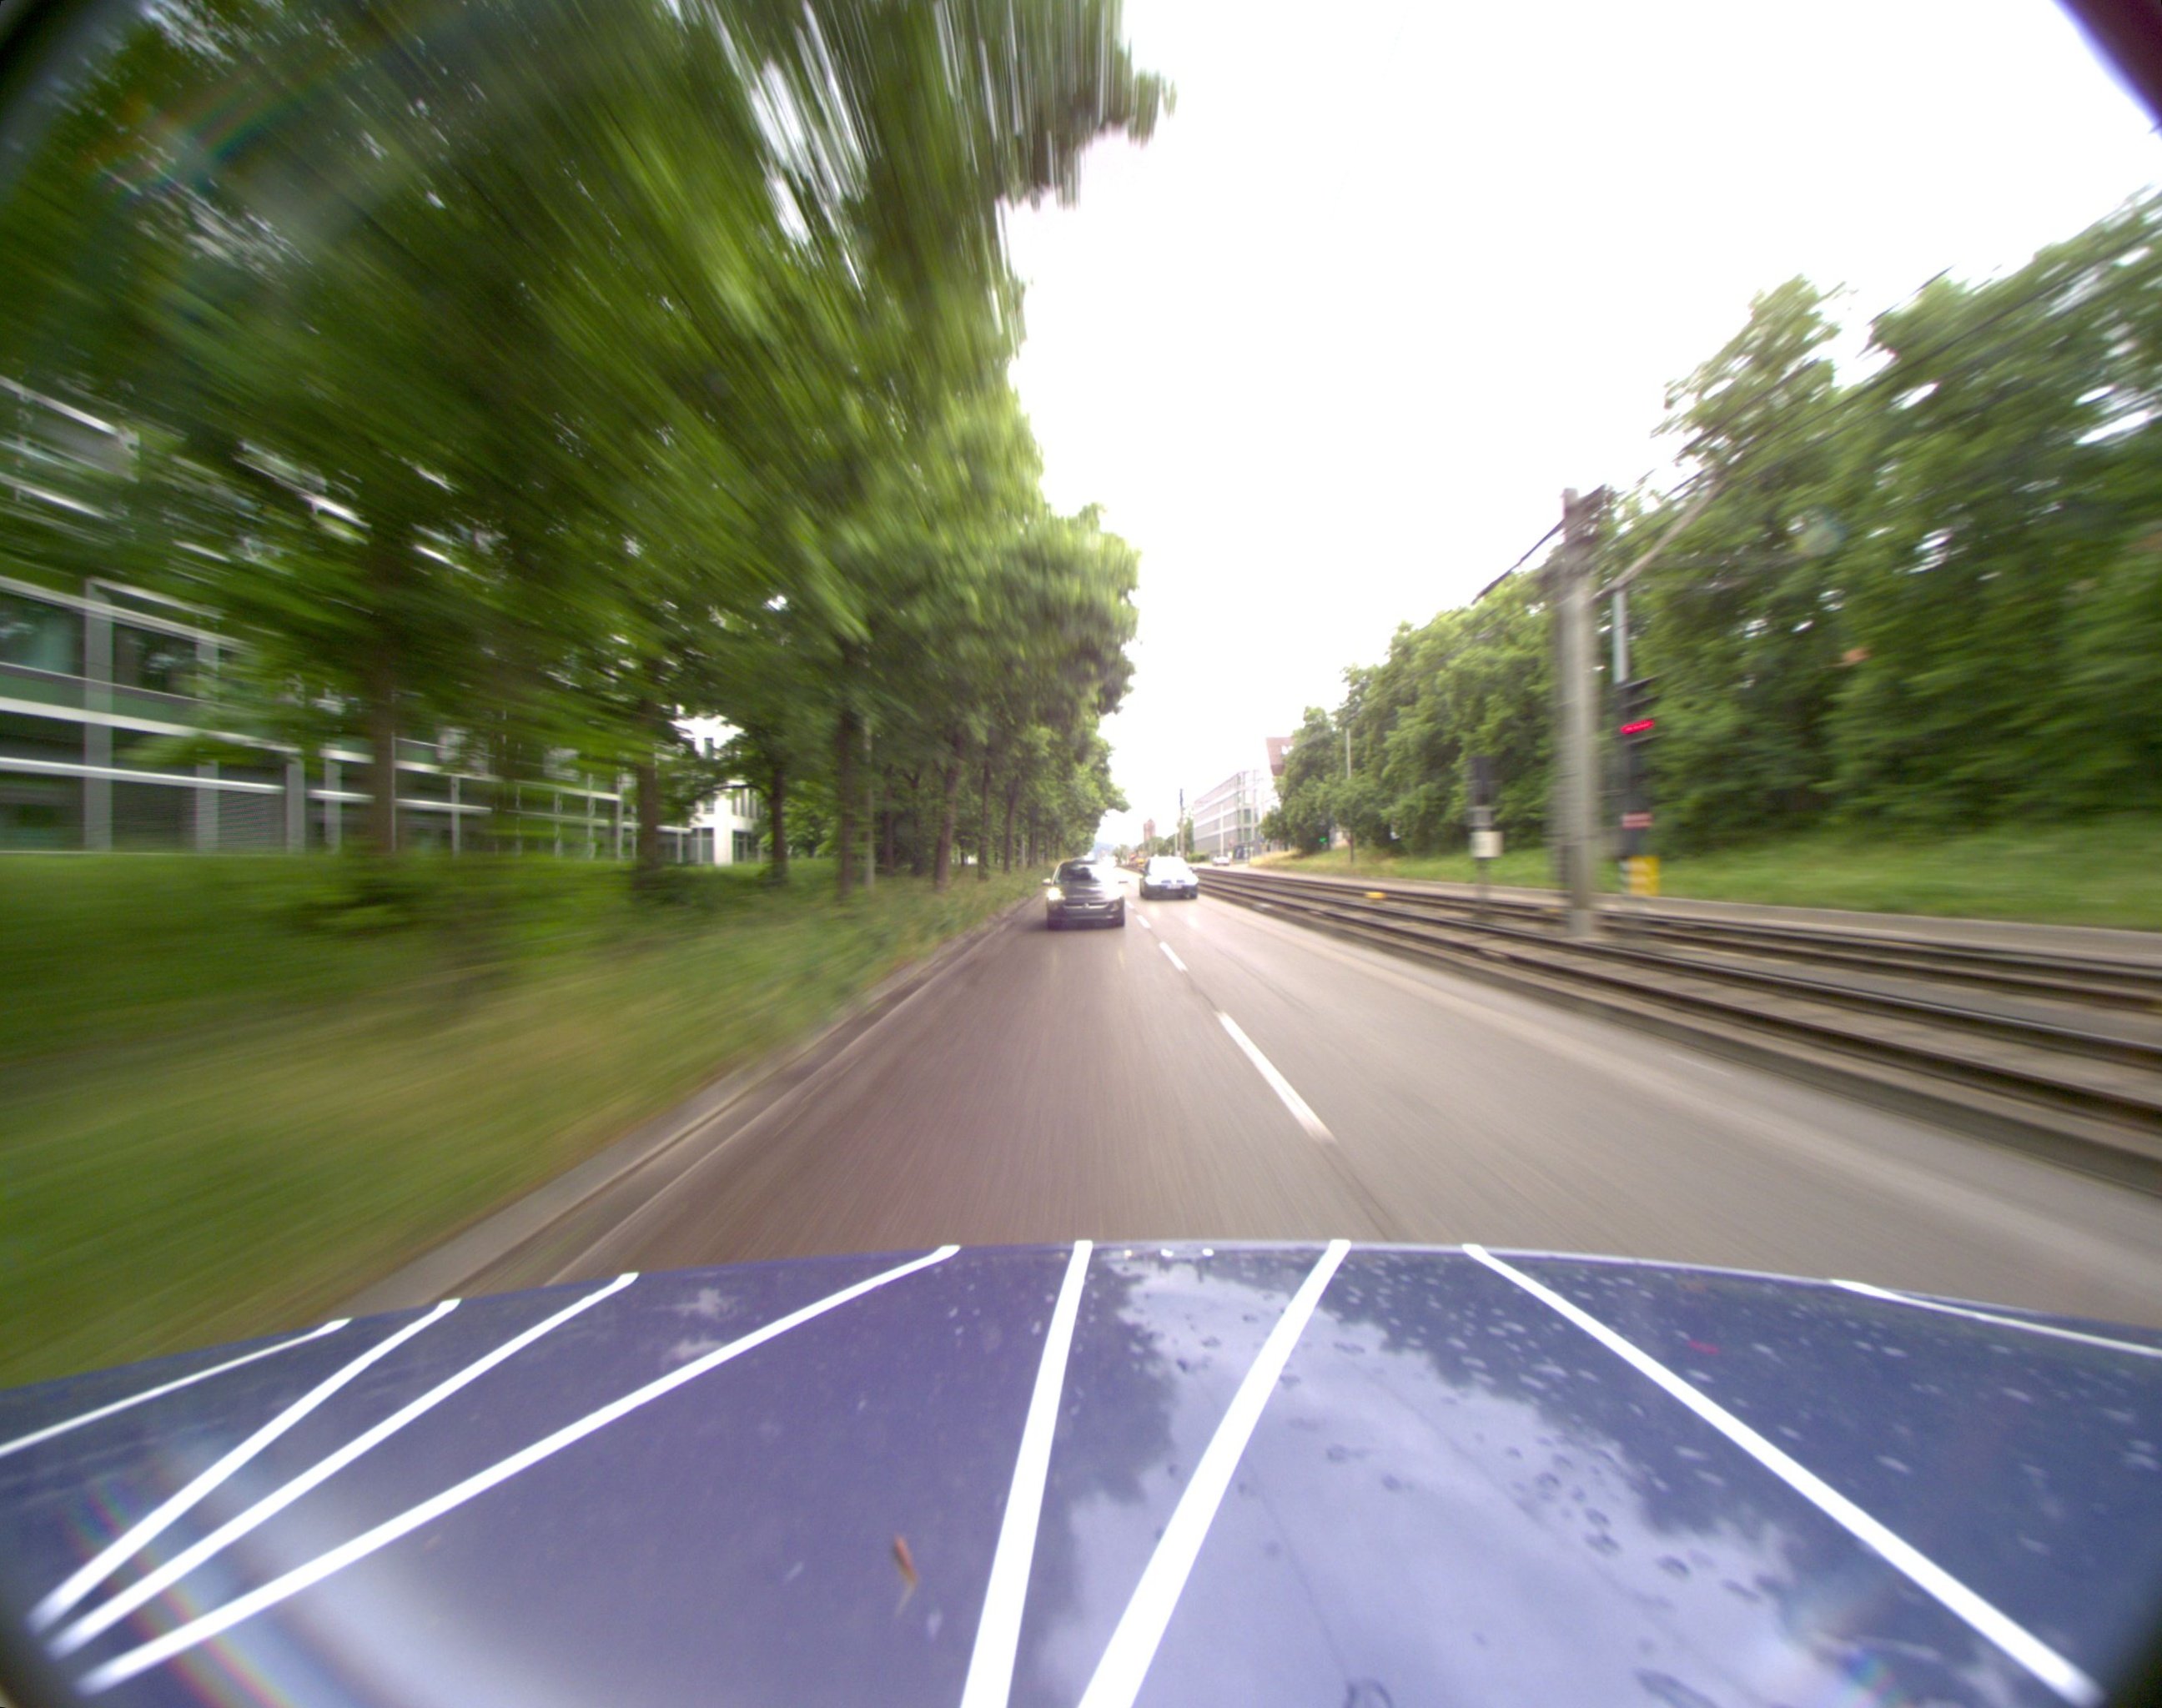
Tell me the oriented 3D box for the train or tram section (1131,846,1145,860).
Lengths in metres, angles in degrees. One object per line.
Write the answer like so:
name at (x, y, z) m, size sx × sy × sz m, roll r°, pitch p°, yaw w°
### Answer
train or tram section at (16.572, -0.340, 220.422) m, size 2.975 × 3.788 × 19.101 m, roll -1°, pitch -1°, yaw 1°

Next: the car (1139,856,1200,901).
car at (3.072, 0.822, 27.110) m, size 1.770 × 1.439 × 3.833 m, roll -1°, pitch 0°, yaw 1°

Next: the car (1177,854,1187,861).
car at (21.725, 0.744, 163.980) m, size 1.657 × 1.520 × 4.381 m, roll -1°, pitch 0°, yaw 1°

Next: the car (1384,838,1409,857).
car at (33.354, -0.684, 80.371) m, size 1.963 × 2.002 × 4.222 m, roll -1°, pitch 0°, yaw 17°

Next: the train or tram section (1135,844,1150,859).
train or tram section at (16.163, -0.500, 201.113) m, size 2.975 × 3.788 × 19.522 m, roll -1°, pitch -1°, yaw 1°

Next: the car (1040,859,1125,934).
car at (0.111, 0.910, 17.976) m, size 1.698 × 1.439 × 4.421 m, roll -3°, pitch 0°, yaw 2°

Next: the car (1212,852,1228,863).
car at (18.048, 0.465, 98.783) m, size 1.480 × 1.427 × 3.909 m, roll 1°, pitch 0°, yaw 1°
